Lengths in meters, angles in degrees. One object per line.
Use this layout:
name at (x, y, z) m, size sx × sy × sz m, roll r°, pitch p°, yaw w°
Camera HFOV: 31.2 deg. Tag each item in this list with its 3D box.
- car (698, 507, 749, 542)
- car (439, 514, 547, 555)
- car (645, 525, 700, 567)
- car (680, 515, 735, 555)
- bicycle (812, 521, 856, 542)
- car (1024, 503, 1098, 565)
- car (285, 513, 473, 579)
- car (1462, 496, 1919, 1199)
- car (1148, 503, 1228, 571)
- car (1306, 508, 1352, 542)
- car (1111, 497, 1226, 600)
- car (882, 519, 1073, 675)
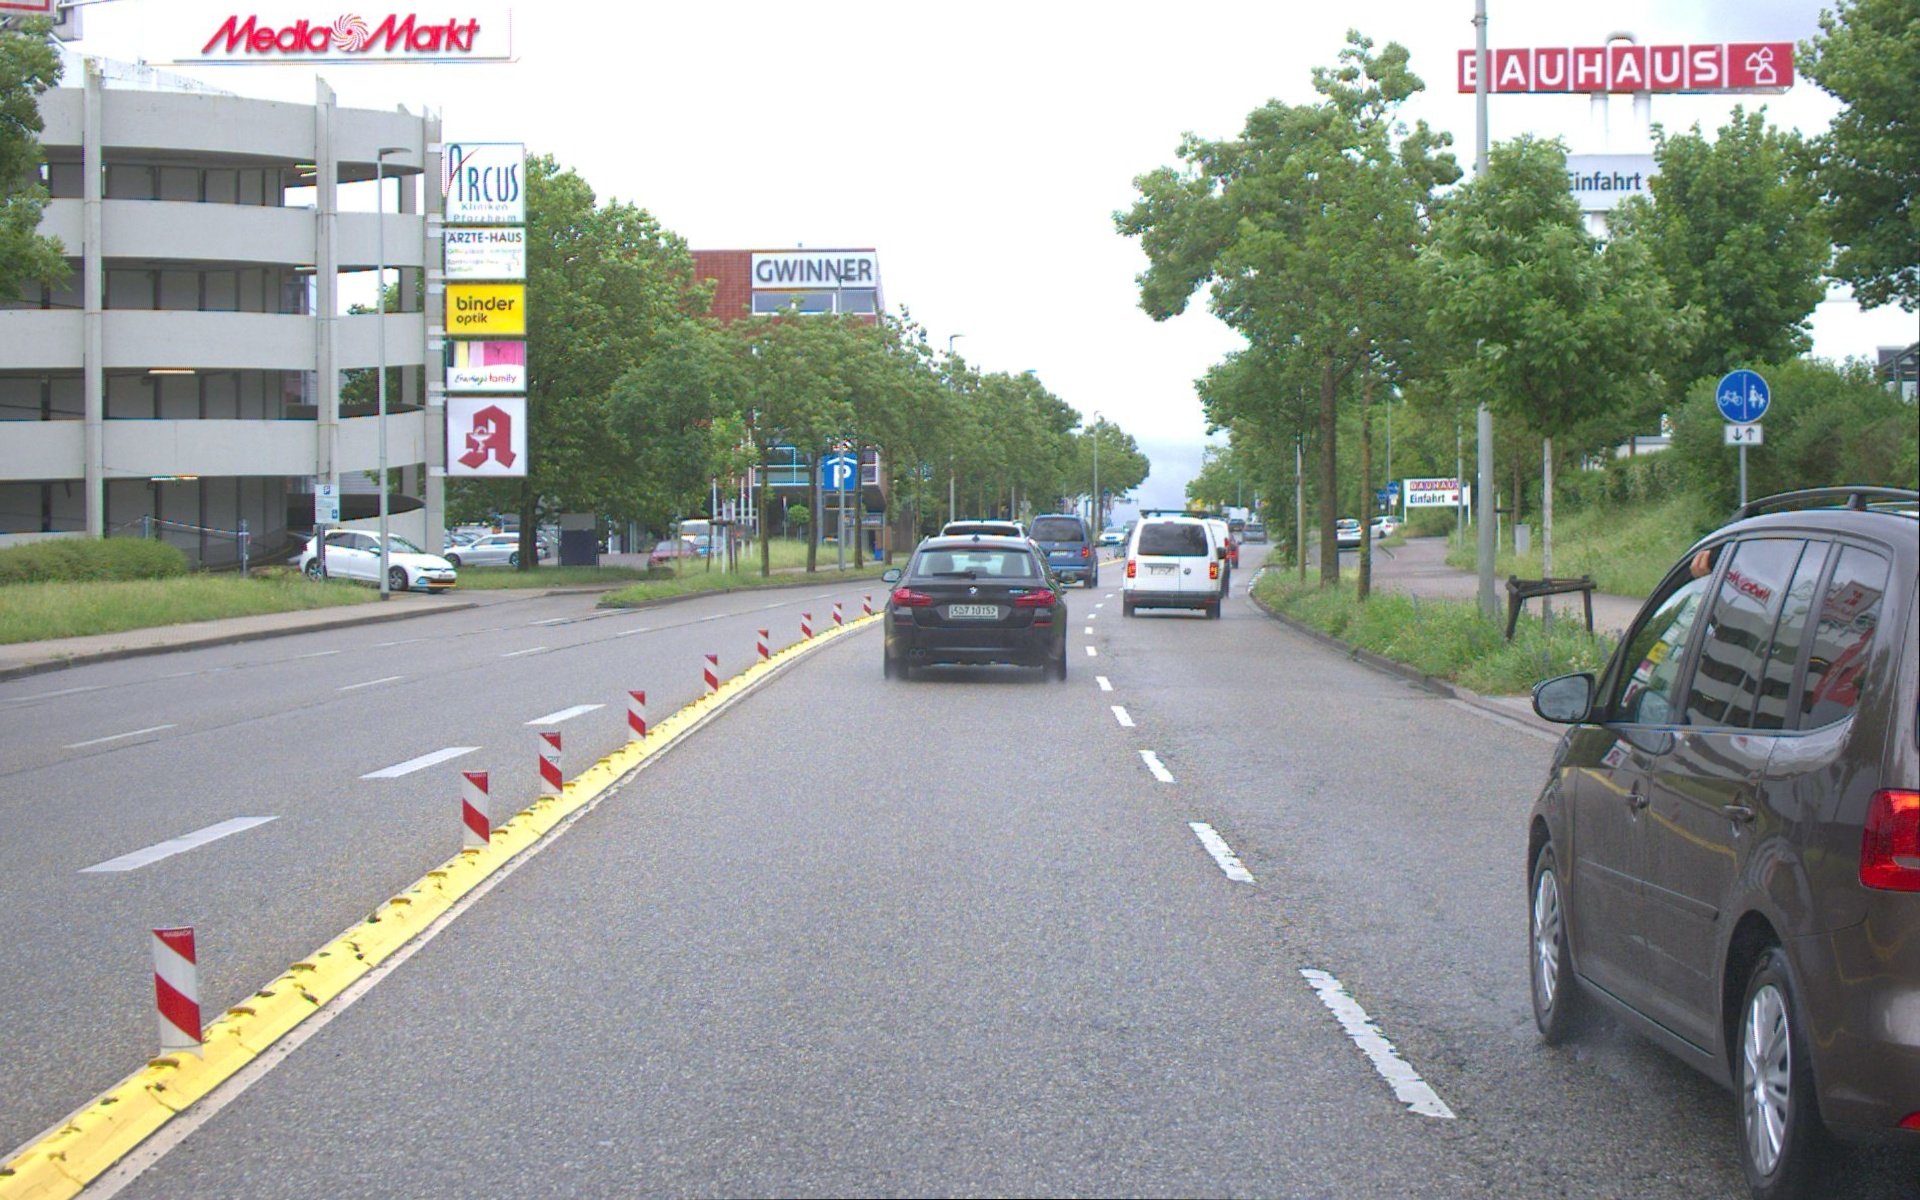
car at (-12.609, -4.050, 183.686) m, size 2.138 × 1.767 × 4.608 m, roll 1°, pitch 3°, yaw 3°
car at (-20.867, -2.932, 153.658) m, size 4.598 × 1.740 × 1.967 m, roll 1°, pitch 3°, yaw -3°
car at (-12.373, -2.346, 148.353) m, size 1.933 × 1.603 × 4.712 m, roll 1°, pitch 3°, yaw 0°
car at (-11.942, -3.084, 162.770) m, size 2.039 × 1.756 × 4.946 m, roll 1°, pitch 3°, yaw 2°
bicycle at (-6.619, -3.628, 180.994) m, size 2.077 × 0.932 × 1.093 m, roll 5°, pitch 1°, yaw 10°
car at (2.614, -1.684, 88.209) m, size 1.794 × 1.505 × 4.000 m, roll 2°, pitch 1°, yaw 2°
car at (-15.021, -1.412, 88.885) m, size 4.415 × 1.403 × 1.903 m, roll 4°, pitch 4°, yaw 22°
car at (2.527, 0.544, 8.764) m, size 1.685 × 1.575 × 4.219 m, roll 1°, pitch 2°, yaw -2°
car at (5.383, -1.476, 81.455) m, size 1.794 × 1.505 × 4.000 m, roll 2°, pitch 1°, yaw 3°
car at (17.432, -3.530, 162.478) m, size 1.794 × 1.505 × 4.000 m, roll 2°, pitch 1°, yaw 2°
car at (3.749, -0.955, 62.347) m, size 1.827 × 1.753 × 4.000 m, roll 2°, pitch 2°, yaw 0°
car at (0.196, -0.078, 35.661) m, size 1.827 × 1.463 × 4.000 m, roll 2°, pitch 1°, yaw 1°
